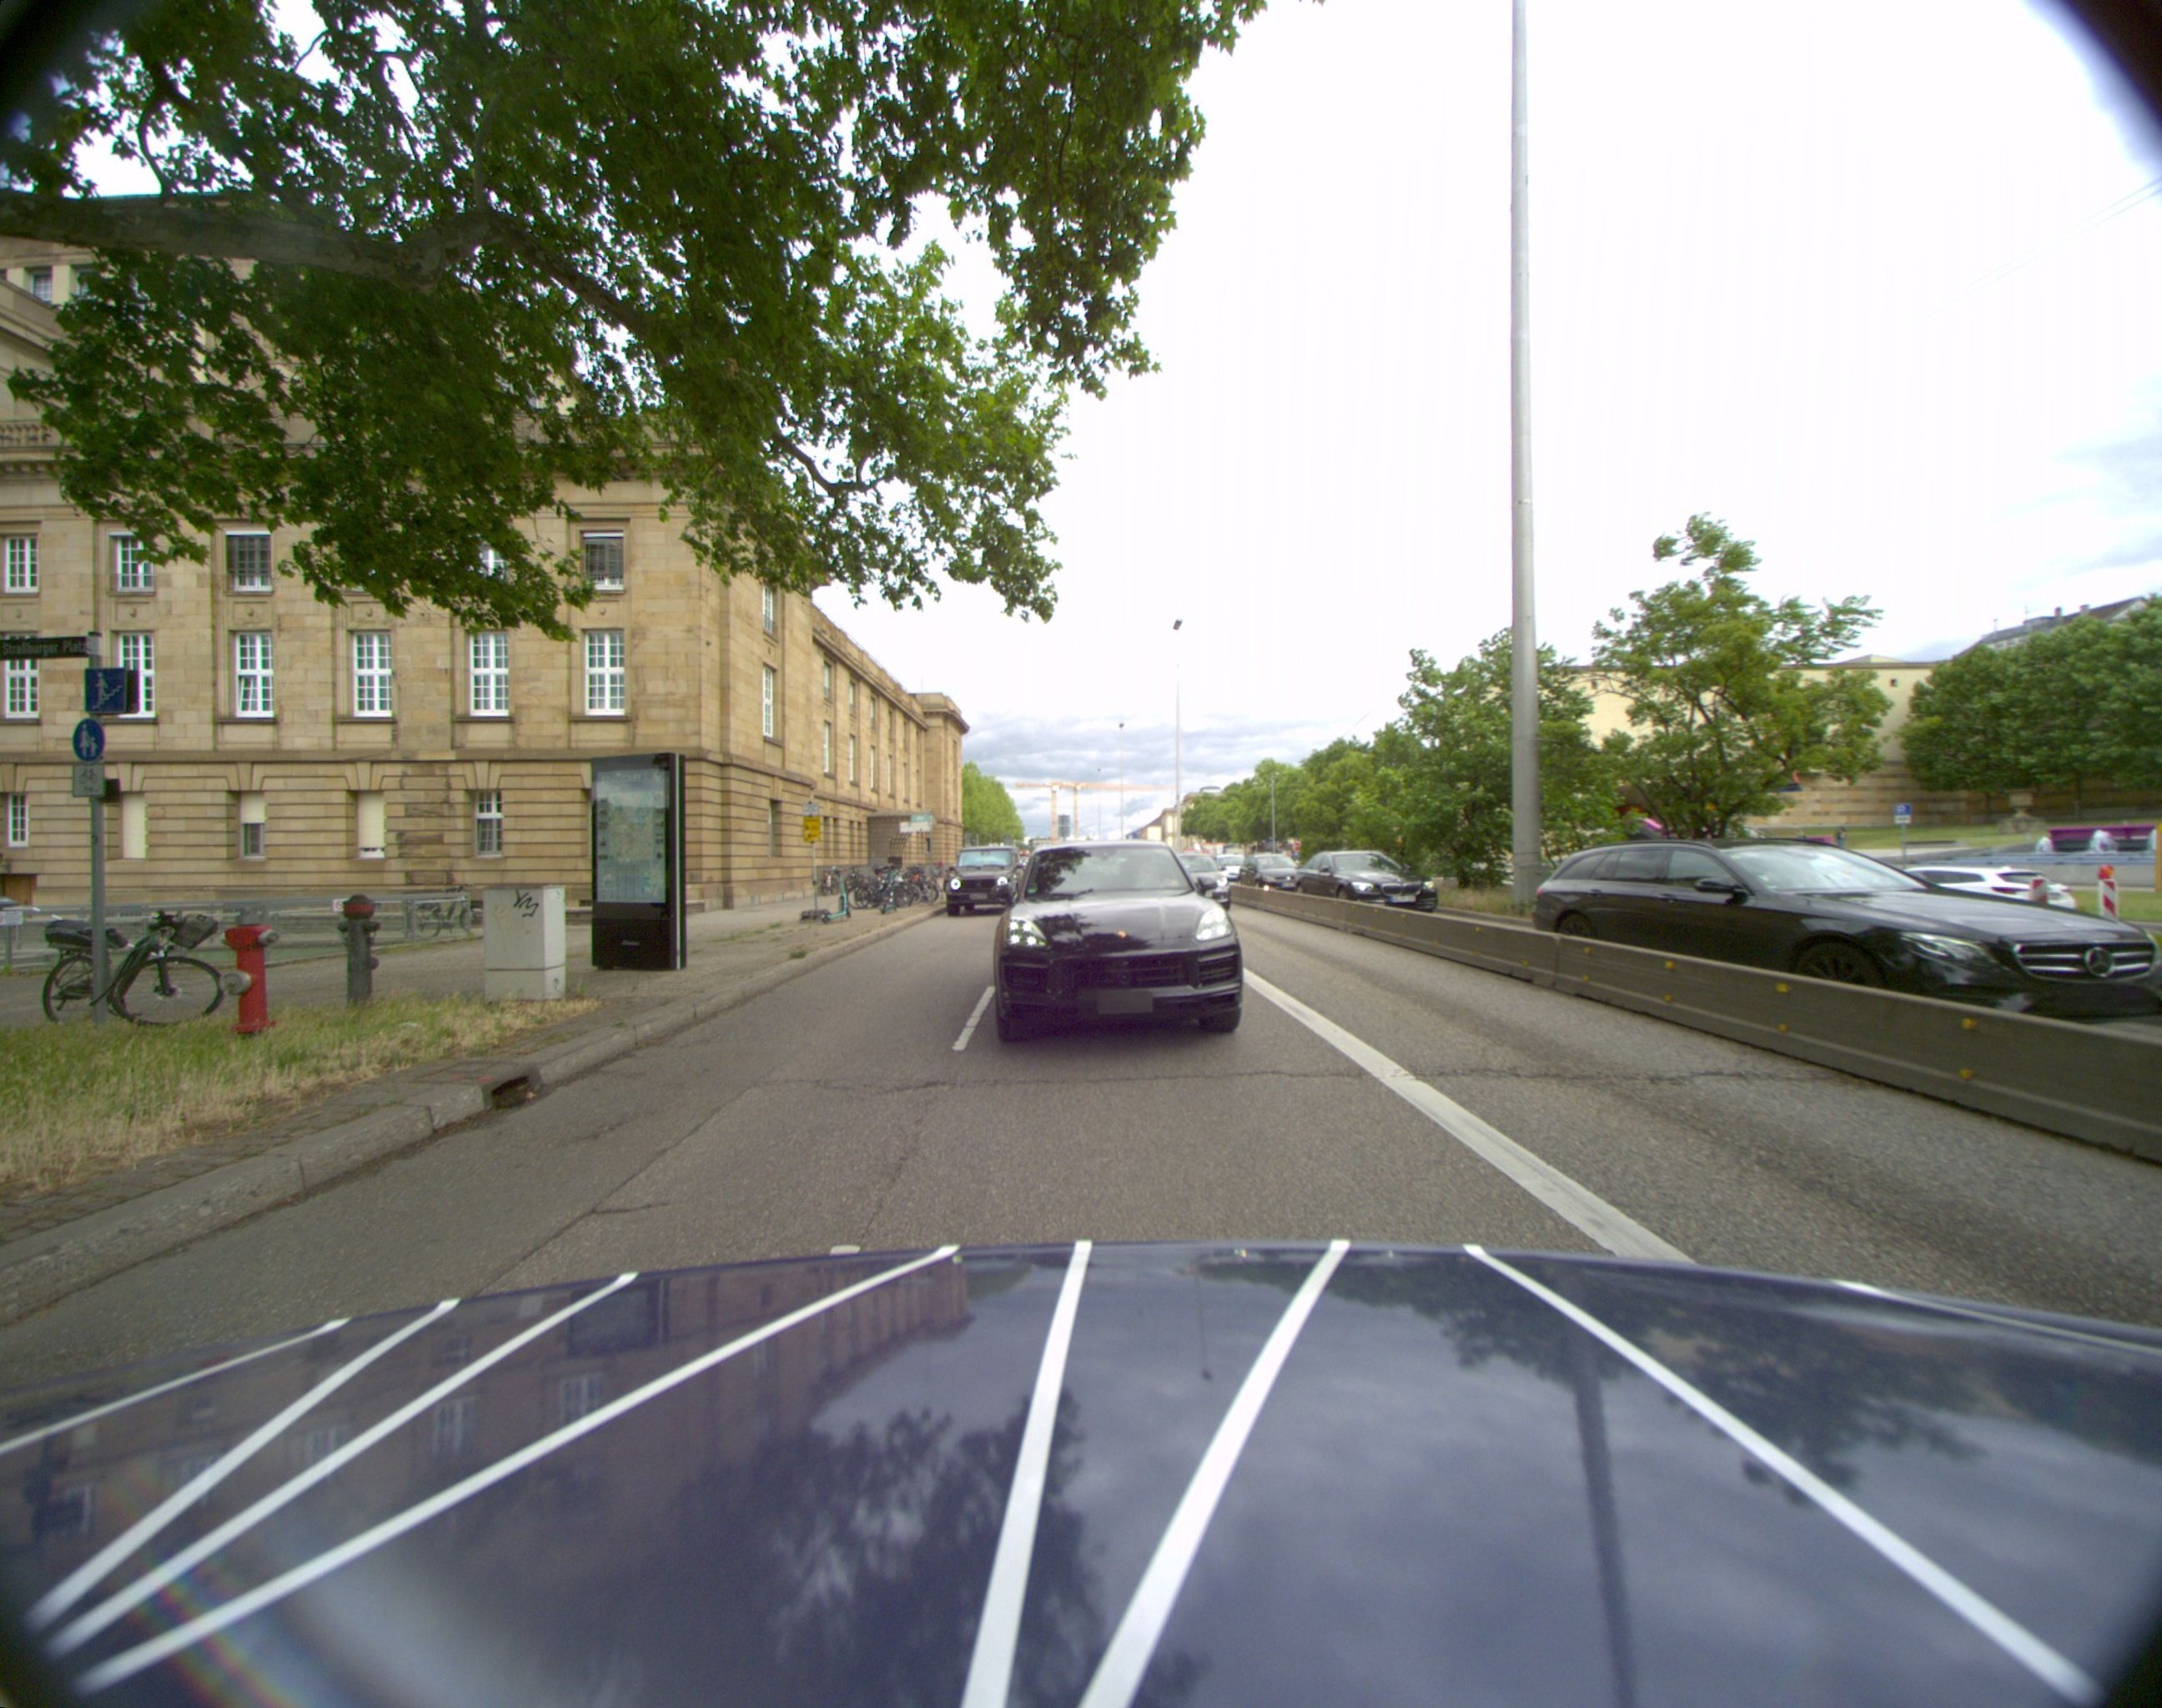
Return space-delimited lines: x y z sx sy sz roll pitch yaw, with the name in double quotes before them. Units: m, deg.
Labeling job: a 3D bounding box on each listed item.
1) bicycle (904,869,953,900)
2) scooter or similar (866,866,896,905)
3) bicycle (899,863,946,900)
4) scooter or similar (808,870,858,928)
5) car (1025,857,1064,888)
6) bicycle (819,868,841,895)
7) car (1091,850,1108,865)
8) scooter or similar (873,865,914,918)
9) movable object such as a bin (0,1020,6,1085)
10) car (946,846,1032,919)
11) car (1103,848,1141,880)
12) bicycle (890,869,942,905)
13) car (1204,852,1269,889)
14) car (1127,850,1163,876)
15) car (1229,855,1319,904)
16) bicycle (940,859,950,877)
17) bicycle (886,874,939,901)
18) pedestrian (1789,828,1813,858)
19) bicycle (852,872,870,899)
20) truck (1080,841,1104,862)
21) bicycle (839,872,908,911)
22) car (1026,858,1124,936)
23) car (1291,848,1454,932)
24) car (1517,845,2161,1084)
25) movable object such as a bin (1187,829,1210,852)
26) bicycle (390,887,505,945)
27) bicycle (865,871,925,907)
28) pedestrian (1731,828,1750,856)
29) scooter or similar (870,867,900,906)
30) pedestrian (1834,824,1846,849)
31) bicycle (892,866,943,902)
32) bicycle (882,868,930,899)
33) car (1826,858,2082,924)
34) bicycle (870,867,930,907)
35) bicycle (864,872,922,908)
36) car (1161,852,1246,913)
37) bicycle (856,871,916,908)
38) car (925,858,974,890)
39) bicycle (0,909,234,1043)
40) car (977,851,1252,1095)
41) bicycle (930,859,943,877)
"bicycle" -5.552 1.122 27.690 1.664 1.068 0.586 -1 1 19
"scooter or similar" -6.822 1.059 25.965 0.563 1.271 1.148 -2 0 6
"bicycle" -5.684 0.987 27.284 1.544 1.249 0.544 -2 0 19
"scooter or similar" -5.804 1.032 17.849 0.432 1.273 1.435 -2 1 11
"car" -1.867 0.902 39.669 1.930 1.501 3.999 -1 0 -1
"bicycle" -10.345 1.117 31.307 0.241 0.992 1.962 -1 1 0
"car" 2.211 0.397 93.619 1.843 1.751 4.479 0 0 -2
"scooter or similar" -5.047 0.979 20.513 0.727 1.323 1.413 -2 1 -1
"movable object such as a bin" -7.913 1.258 4.817 1.301 0.648 0.729 -3 1 9
"car" -2.599 0.753 22.495 1.952 1.914 4.399 -1 0 0
"car" 2.236 0.502 42.279 1.690 1.646 3.999 -2 1 -2
"bicycle" -5.620 1.113 25.861 1.616 1.123 0.469 -2 0 -26
"car" 6.680 0.667 32.995 1.677 1.498 3.852 -2 0 -5
"car" 4.371 0.594 52.521 1.781 1.611 4.044 -2 1 -5
"car" 6.384 0.788 25.627 1.664 1.446 4.196 -2 0 -4
"bicycle" -10.040 1.029 56.098 0.413 1.280 1.790 -1 0 0
"bicycle" -5.949 1.163 26.791 1.730 0.912 0.614 -1 1 19
"pedestrian" 46.310 -0.711 48.883 0.693 1.842 0.804 -3 1 1
"bicycle" -10.351 1.488 35.826 0.276 1.176 1.538 -2 1 2
"truck" 1.423 -0.379 103.595 2.978 2.757 7.254 0 0 -1
"bicycle" -6.222 1.120 22.835 1.860 1.085 0.666 -2 0 13
"car" -0.149 0.865 17.053 1.930 1.501 3.999 -1 0 -1
"car" 6.471 0.704 17.576 1.928 1.626 4.936 -2 0 1
"car" 6.473 0.684 7.236 1.821 1.490 4.767 -1 1 -1
"movable object such as a bin" 11.760 -1.331 76.175 1.526 2.172 3.291 -1 0 -5
"bicycle" -13.137 1.280 15.779 2.016 1.119 0.389 -1 1 0
"bicycle" -5.937 1.108 24.301 1.731 1.085 0.575 -2 0 9
"pedestrian" 42.935 -0.785 49.448 0.692 1.842 0.805 -2 1 26
"scooter or similar" -6.649 1.095 25.842 0.426 1.217 1.313 -2 1 10
"pedestrian" 49.672 -1.138 49.750 0.348 1.602 0.405 -3 1 1
"bicycle" -5.535 0.999 25.728 1.616 1.123 0.407 -2 0 -26
"bicycle" -6.145 1.026 26.711 1.565 1.022 0.436 -2 0 11
"car" 22.829 0.882 20.210 1.649 1.518 4.522 -1 0 1
"bicycle" -5.877 1.075 24.758 1.762 1.202 0.604 -2 0 -3
"bicycle" -5.912 1.124 23.880 1.731 1.085 0.381 -2 1 13
"car" 3.351 0.715 21.392 1.690 1.496 3.999 -2 1 0
"bicycle" -6.019 1.102 23.463 1.731 1.085 0.426 -2 0 13
"car" -6.333 0.973 37.088 1.793 1.477 4.325 0 -1 -2
"bicycle" -9.392 1.171 7.397 1.789 1.214 0.492 -1 1 3
"car" 0.037 0.798 7.346 1.909 1.648 4.198 0 0 -6
"bicycle" -10.329 1.008 54.498 0.557 1.210 1.915 -1 0 0
